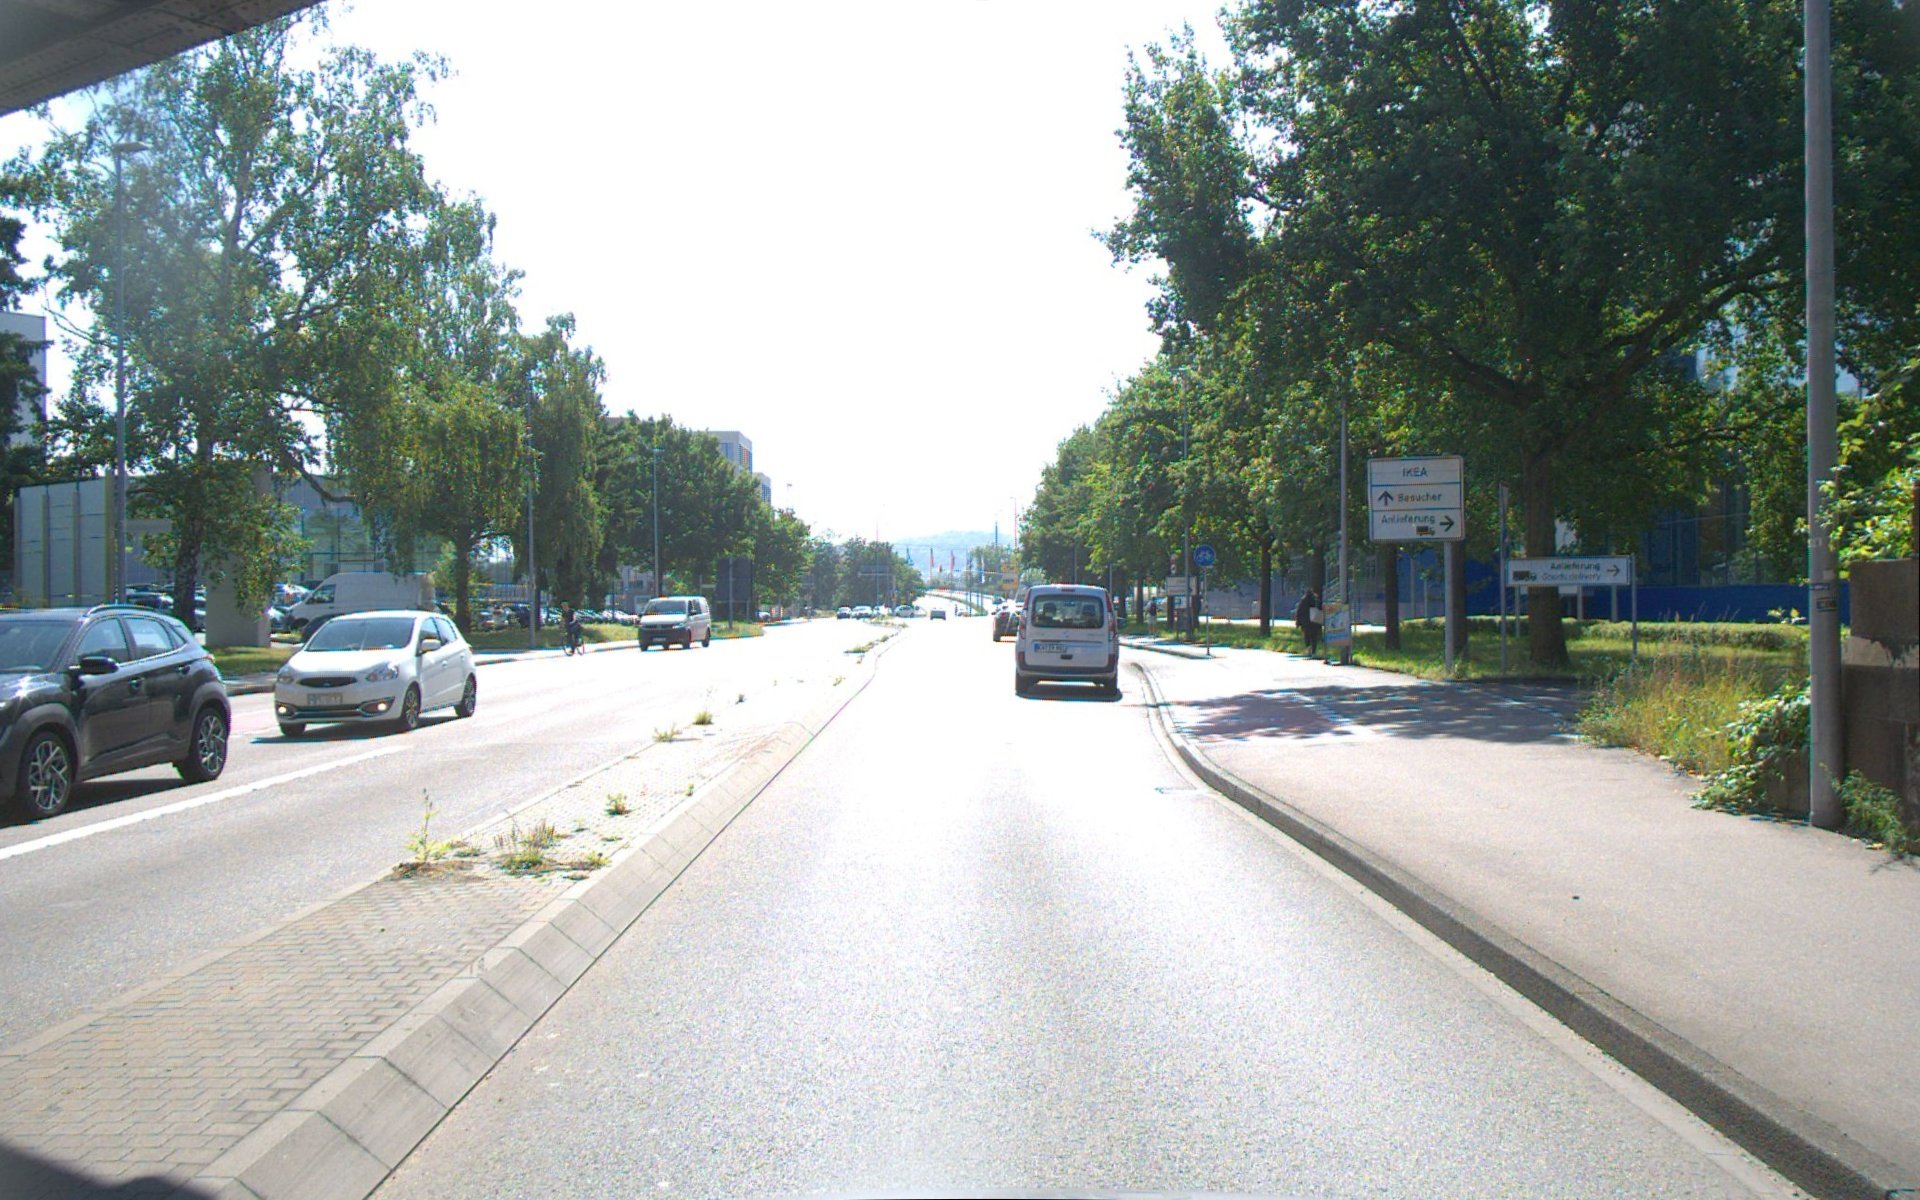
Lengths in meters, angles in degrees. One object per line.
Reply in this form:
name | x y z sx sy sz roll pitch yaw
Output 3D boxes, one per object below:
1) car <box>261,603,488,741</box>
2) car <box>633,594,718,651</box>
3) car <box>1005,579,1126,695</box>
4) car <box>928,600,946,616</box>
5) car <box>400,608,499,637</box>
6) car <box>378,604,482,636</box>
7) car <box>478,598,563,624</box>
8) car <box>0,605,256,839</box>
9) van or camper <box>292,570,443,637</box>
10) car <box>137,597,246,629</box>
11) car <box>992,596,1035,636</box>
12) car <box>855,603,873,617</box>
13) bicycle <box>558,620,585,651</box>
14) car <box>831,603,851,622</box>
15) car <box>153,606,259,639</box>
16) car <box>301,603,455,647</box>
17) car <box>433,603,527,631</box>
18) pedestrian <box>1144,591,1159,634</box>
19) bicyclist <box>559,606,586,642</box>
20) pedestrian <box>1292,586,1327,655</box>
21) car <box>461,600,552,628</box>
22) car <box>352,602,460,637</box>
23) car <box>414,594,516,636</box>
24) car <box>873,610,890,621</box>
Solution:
car | -7.536 0.858 21.663 1.609 1.520 3.828 -2 1 -1
car | -10.918 0.836 63.833 1.951 2.049 5.349 -1 0 4
car | 1.773 0.609 28.988 1.866 1.861 4.180 -1 0 0
car | -2.574 0.914 189.488 1.952 1.713 4.000 -1 0 0
car | -23.384 1.024 75.838 4.002 1.316 1.744 -1 0 2
car | -23.423 0.894 73.122 4.000 1.378 1.744 -1 -1 5
car | -24.405 0.592 91.873 4.177 1.374 1.954 -1 0 2
car | -7.452 0.876 13.298 1.732 1.520 4.178 -2 1 0
van or camper | -23.779 0.126 66.544 5.270 2.513 1.999 2 1 -2
car | -33.916 0.570 73.012 4.000 1.378 1.745 -1 -1 5
car | 2.350 0.678 71.743 1.769 1.668 4.460 -1 0 3
car | -11.221 1.139 193.658 1.803 1.489 4.999 -3 0 0
bicycle | -13.463 1.224 57.302 0.436 1.045 1.616 -1 0 4
car | -14.321 1.482 199.268 1.952 2.048 4.001 2 1 1
car | -34.479 1.034 75.688 4.003 1.464 1.744 -1 0 0
car | -19.983 0.843 56.894 4.566 1.438 2.002 -1 -1 9
car | -24.304 0.843 83.803 4.177 1.351 1.954 -1 0 2
pedestrian | 8.315 0.540 71.804 0.524 1.874 0.728 -1 -1 0
bicyclist | -13.471 0.834 57.515 0.620 1.249 0.951 -1 0 4
pedestrian | 8.378 0.496 39.665 0.633 1.631 0.847 -1 -1 1
car | -23.765 0.749 86.689 4.177 1.405 1.954 -1 0 2
car | -23.672 0.822 70.756 4.000 1.464 1.745 -1 0 5
car | -23.433 0.705 78.366 4.177 1.917 1.954 -1 0 2
car | -10.951 2.151 230.987 1.777 1.490 4.002 -1 -1 4
